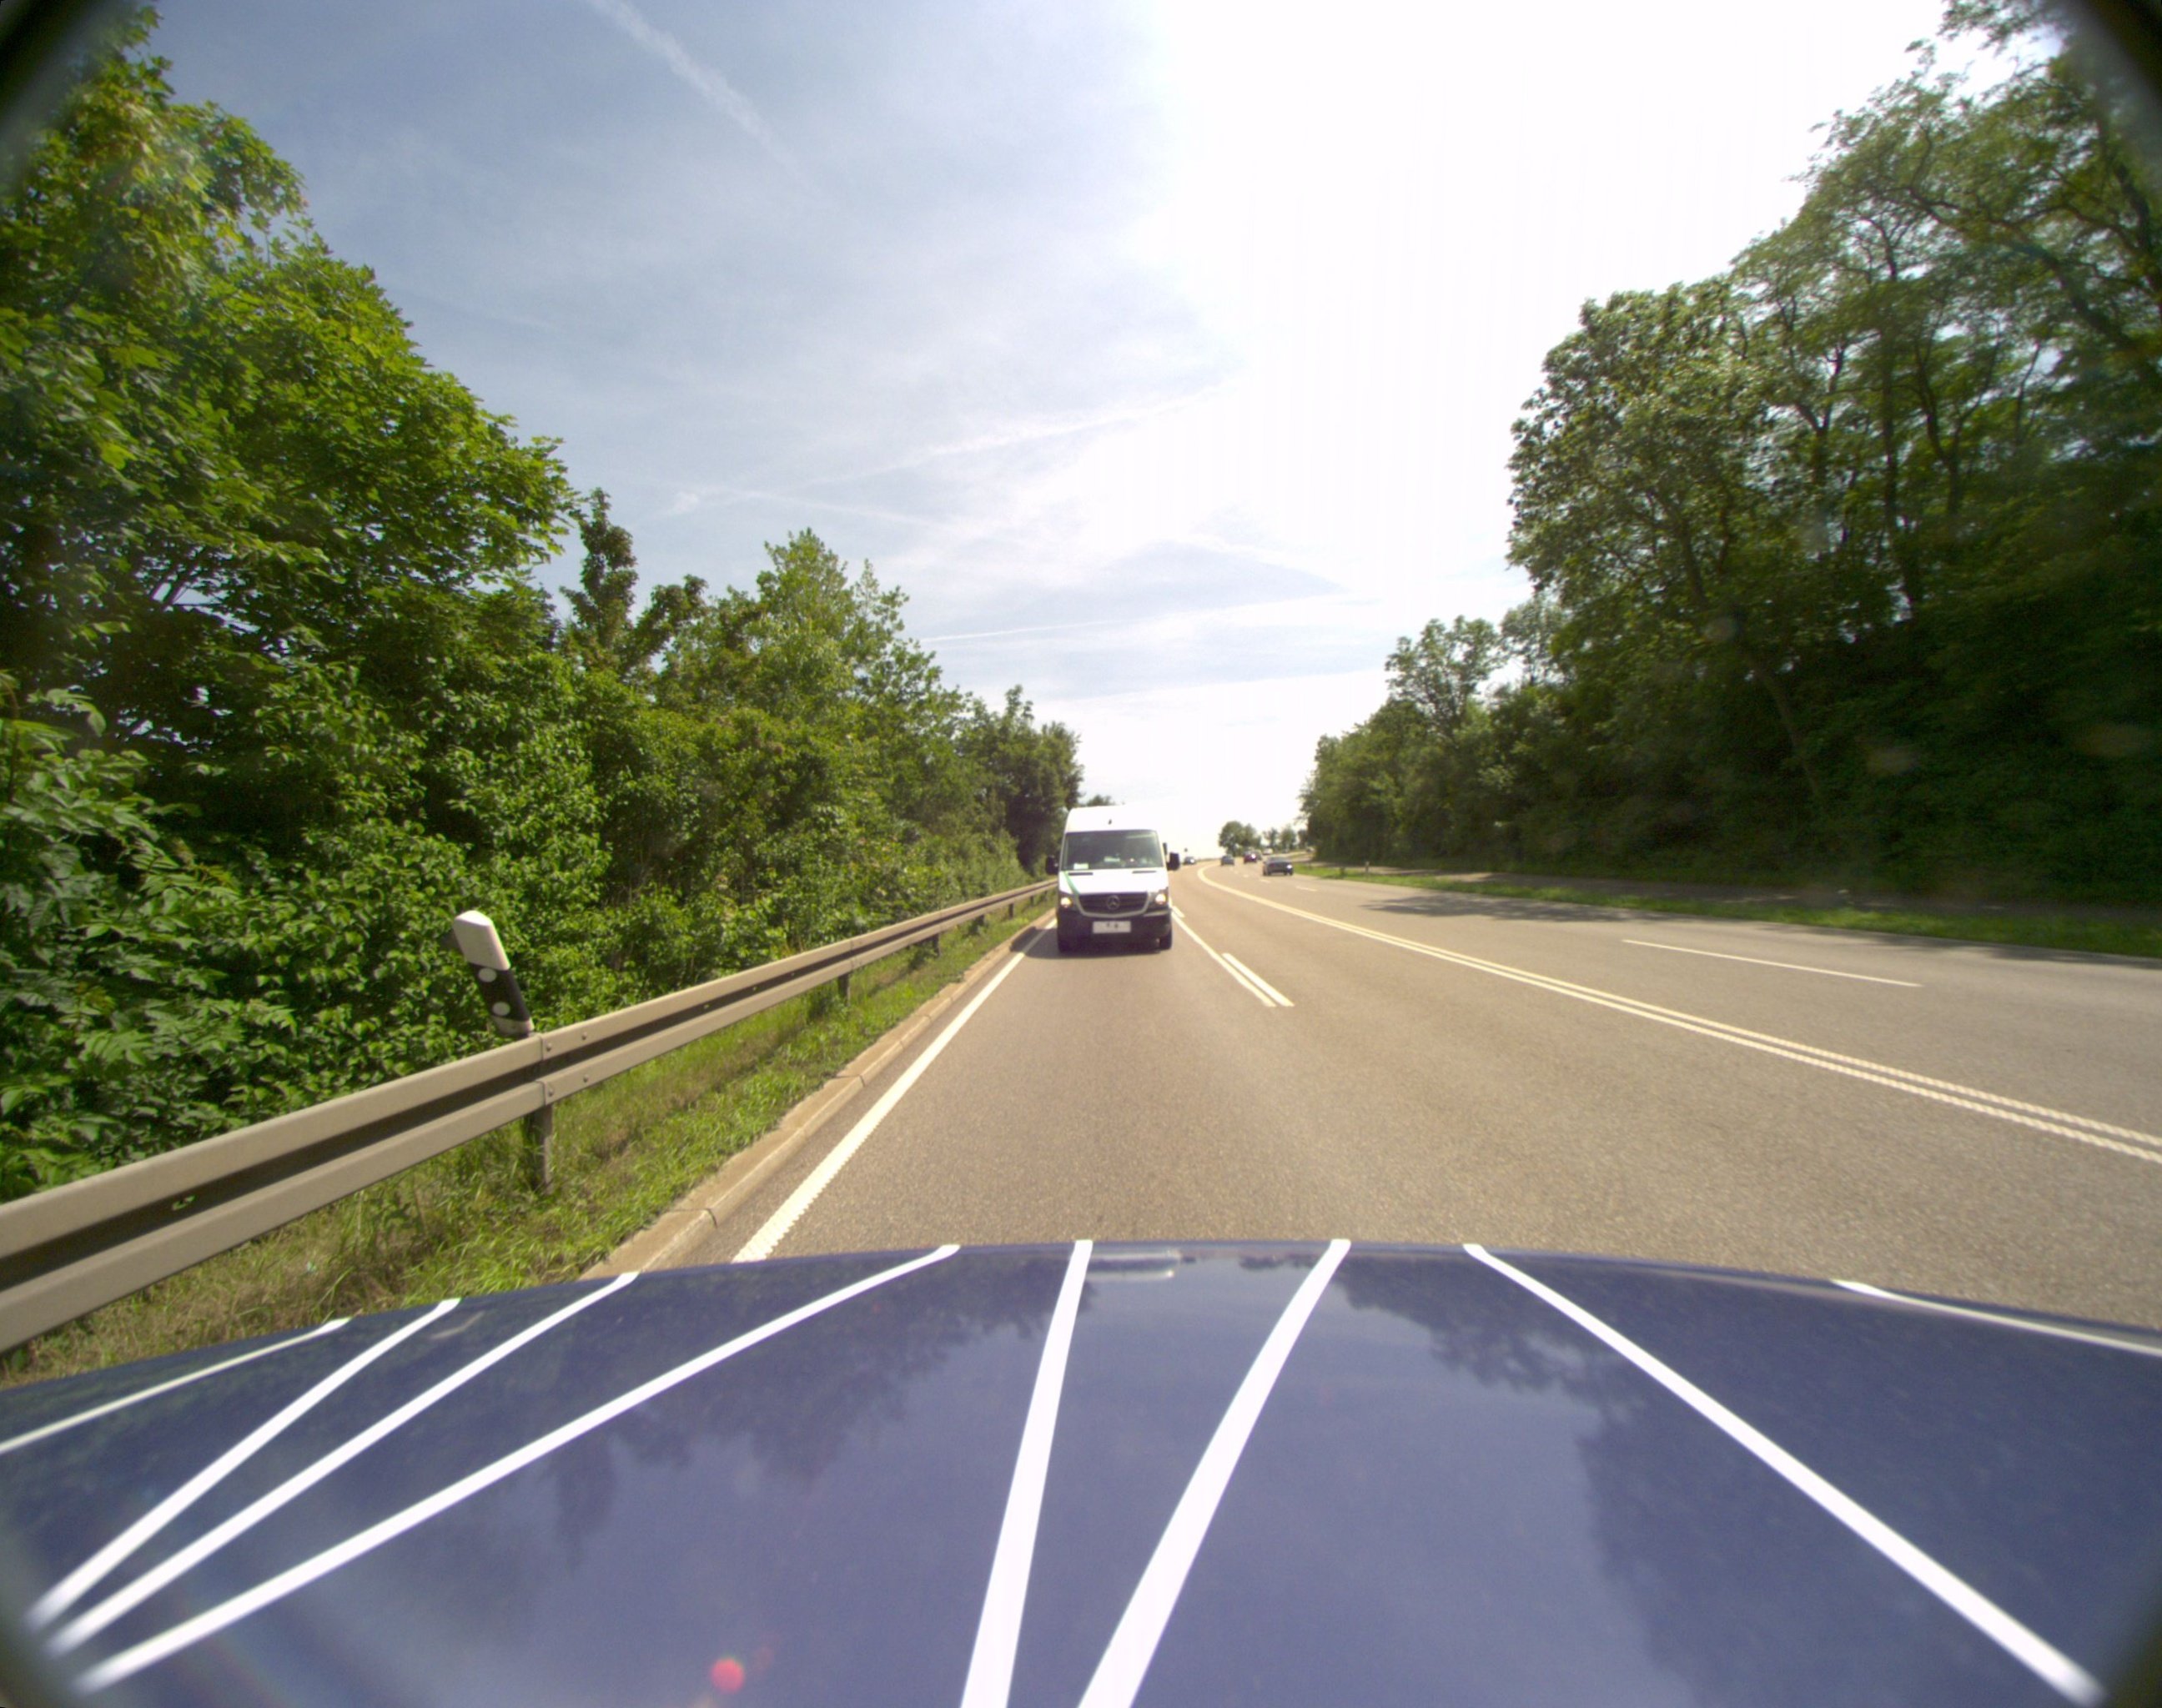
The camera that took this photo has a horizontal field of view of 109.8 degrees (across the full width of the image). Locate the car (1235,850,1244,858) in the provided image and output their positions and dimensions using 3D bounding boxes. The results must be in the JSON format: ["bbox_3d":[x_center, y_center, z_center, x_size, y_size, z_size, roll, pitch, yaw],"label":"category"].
[{"bbox_3d":[40.031,-0.082,191.587,1.996,2.002,4.005,-2,0,16],"label":"car"}]

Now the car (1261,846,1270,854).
[{"bbox_3d":[51.241,-1.186,211.510,1.849,2.002,3.877,-2,1,22],"label":"car"}]

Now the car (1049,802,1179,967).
[{"bbox_3d":[0.563,0.473,14.222,1.958,2.502,5.267,-1,0,1],"label":"car"}]

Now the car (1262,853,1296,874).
[{"bbox_3d":[14.268,0.685,54.859,1.806,1.379,3.872,-2,0,7],"label":"car"}]

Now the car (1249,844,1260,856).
[{"bbox_3d":[31.365,-0.683,137.072,1.815,2.002,3.874,-2,1,13],"label":"car"}]

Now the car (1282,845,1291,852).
[{"bbox_3d":[62.405,-1.641,230.880,1.763,1.849,3.816,-2,1,27],"label":"car"}]

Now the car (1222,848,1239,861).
[{"bbox_3d":[20.126,0.086,102.108,1.958,1.717,3.914,-2,0,13],"label":"car"}]

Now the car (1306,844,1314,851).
[{"bbox_3d":[69.699,-1.903,231.094,1.996,2.002,4.005,-2,1,20],"label":"car"}]

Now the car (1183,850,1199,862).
[{"bbox_3d":[17.606,0.297,121.392,1.996,1.718,4.003,-2,1,13],"label":"car"}]

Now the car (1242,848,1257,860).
[{"bbox_3d":[24.670,-0.013,110.935,1.996,1.665,4.003,-2,1,13],"label":"car"}]
